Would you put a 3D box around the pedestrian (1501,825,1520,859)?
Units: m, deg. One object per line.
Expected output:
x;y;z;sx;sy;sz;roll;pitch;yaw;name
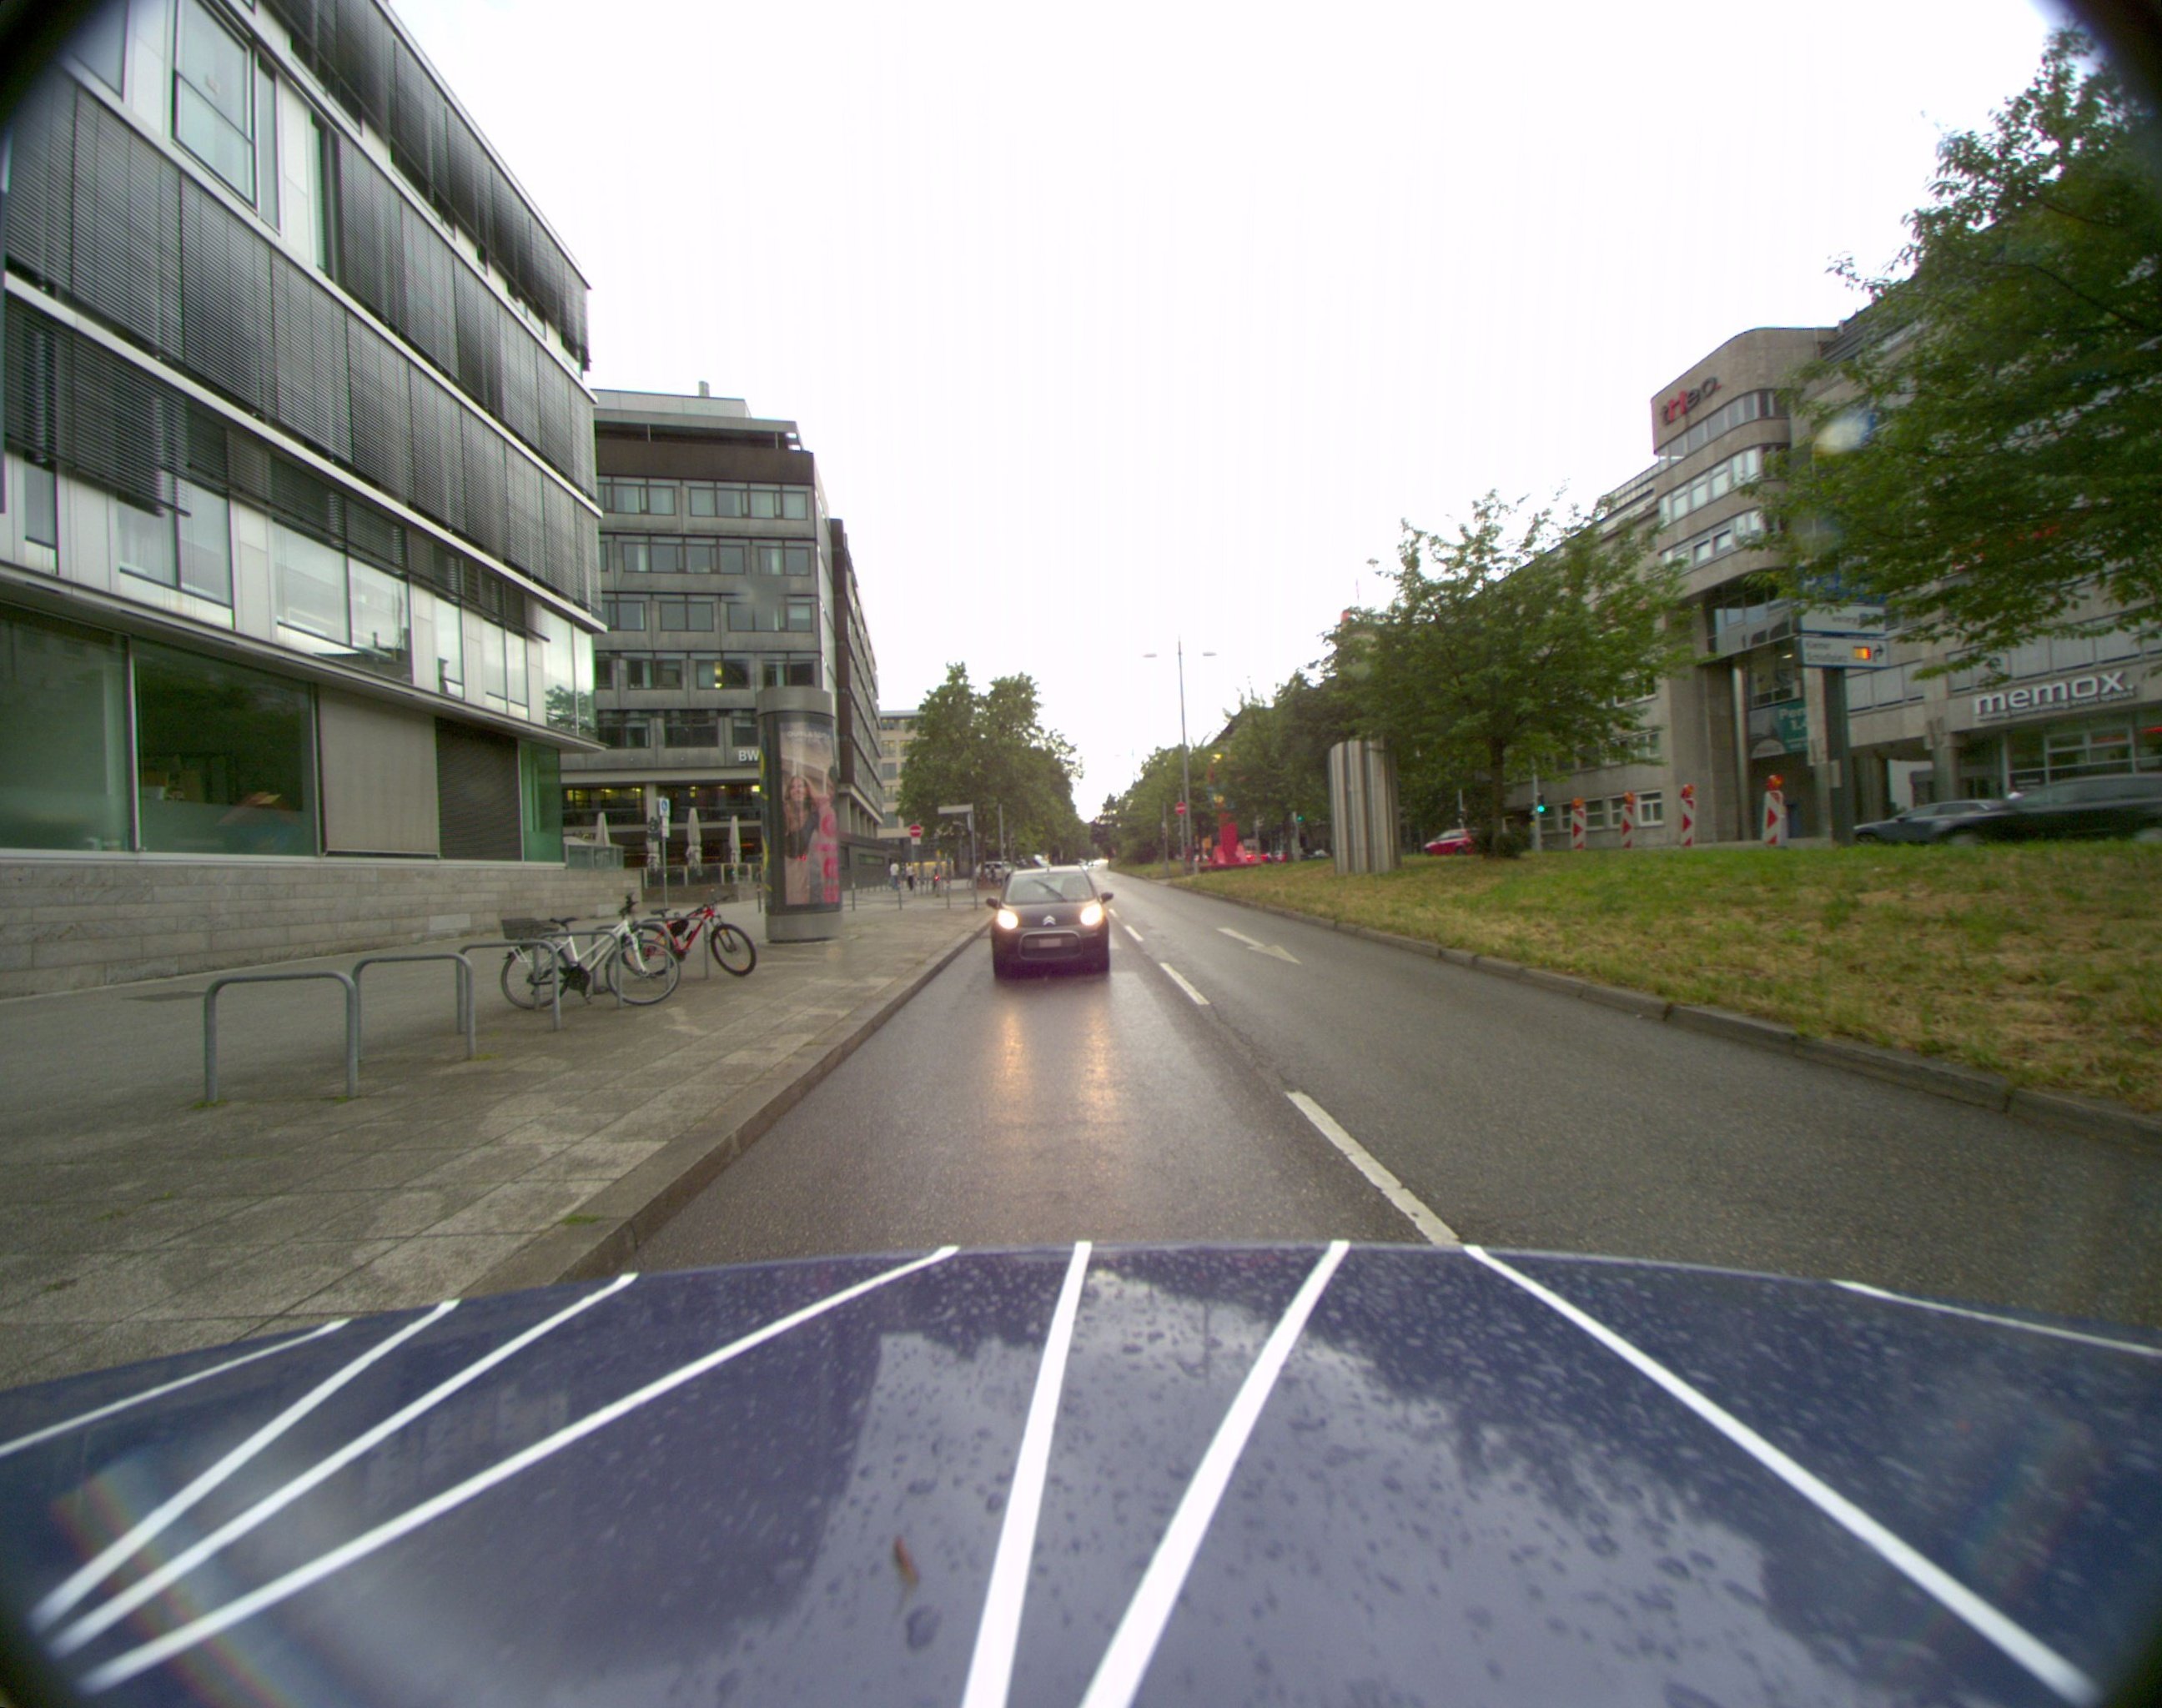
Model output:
23.280;-0.634;41.222;0.529;1.777;0.721;-3;0;1;pedestrian

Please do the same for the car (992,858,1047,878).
-5.387;1.223;66.376;4.381;1.528;1.919;-4;0;27;car

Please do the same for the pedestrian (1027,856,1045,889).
-2.363;0.942;39.542;0.528;1.675;0.722;-3;0;29;pedestrian

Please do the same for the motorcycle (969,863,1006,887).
-5.658;1.259;46.069;2.087;1.349;0.677;-3;0;7;motorcycle

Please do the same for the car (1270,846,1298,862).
20.549;-0.007;77.095;1.690;1.493;3.692;-2;0;-3;car

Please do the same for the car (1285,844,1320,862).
20.973;-0.039;72.102;1.867;1.612;4.467;-2;0;-3;car

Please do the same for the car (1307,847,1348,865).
21.669;0.190;66.920;1.867;1.421;4.565;-2;-1;-3;car

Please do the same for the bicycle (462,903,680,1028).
-5.308;1.145;7.965;1.840;1.190;0.660;-1;0;4;bicycle

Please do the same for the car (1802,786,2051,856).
24.578;-0.870;22.435;1.867;1.715;4.791;-2;0;-3;car

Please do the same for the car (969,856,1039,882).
-5.656;1.123;55.610;4.792;1.640;1.920;-4;0;30;car

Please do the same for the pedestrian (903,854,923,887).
-10.439;1.030;47.235;0.851;2.027;0.753;-3;0;7;pedestrian

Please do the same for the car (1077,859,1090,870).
0.388;1.750;128.668;1.791;1.736;4.574;-2;0;-3;car

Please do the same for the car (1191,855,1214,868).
14.131;0.873;88.607;1.866;1.421;4.566;-2;-1;-1;car

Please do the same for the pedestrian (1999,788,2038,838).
34.905;-1.514;28.299;0.721;1.777;0.529;-3;0;-2;pedestrian

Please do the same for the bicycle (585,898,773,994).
-5.148;1.171;9.817;1.988;1.097;0.808;-2;0;4;bicycle

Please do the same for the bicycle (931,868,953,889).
-8.352;1.495;45.554;0.778;1.132;1.975;-6;0;-24;bicycle

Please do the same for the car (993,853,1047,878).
-5.551;1.085;69.257;4.507;1.981;1.925;-4;0;29;car

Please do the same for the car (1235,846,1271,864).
14.875;0.090;65.976;1.867;1.421;4.131;-2;0;-4;car

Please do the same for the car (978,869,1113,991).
-0.520;1.002;11.571;1.634;1.408;3.834;-3;0;-2;car

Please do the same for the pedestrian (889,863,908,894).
-11.342;1.488;47.162;0.802;1.857;0.899;-3;0;5;pedestrian

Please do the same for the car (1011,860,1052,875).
-5.400;1.477;82.705;4.052;1.415;1.711;-4;0;29;car

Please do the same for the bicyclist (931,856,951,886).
-8.381;1.014;45.530;0.813;1.739;1.078;-7;2;-22;bicyclist

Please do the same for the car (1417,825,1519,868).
16.747;-0.295;33.123;1.951;1.690;3.997;-3;0;-8;car

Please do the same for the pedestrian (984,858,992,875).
-10.122;1.340;82.410;0.721;1.873;0.656;-3;0;-6;pedestrian

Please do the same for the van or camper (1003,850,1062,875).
-5.542;0.958;86.370;6.250;2.432;2.319;-4;0;30;van or camper

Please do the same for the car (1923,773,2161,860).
18.826;-0.663;14.039;1.873;1.466;3.997;-3;0;-8;car
